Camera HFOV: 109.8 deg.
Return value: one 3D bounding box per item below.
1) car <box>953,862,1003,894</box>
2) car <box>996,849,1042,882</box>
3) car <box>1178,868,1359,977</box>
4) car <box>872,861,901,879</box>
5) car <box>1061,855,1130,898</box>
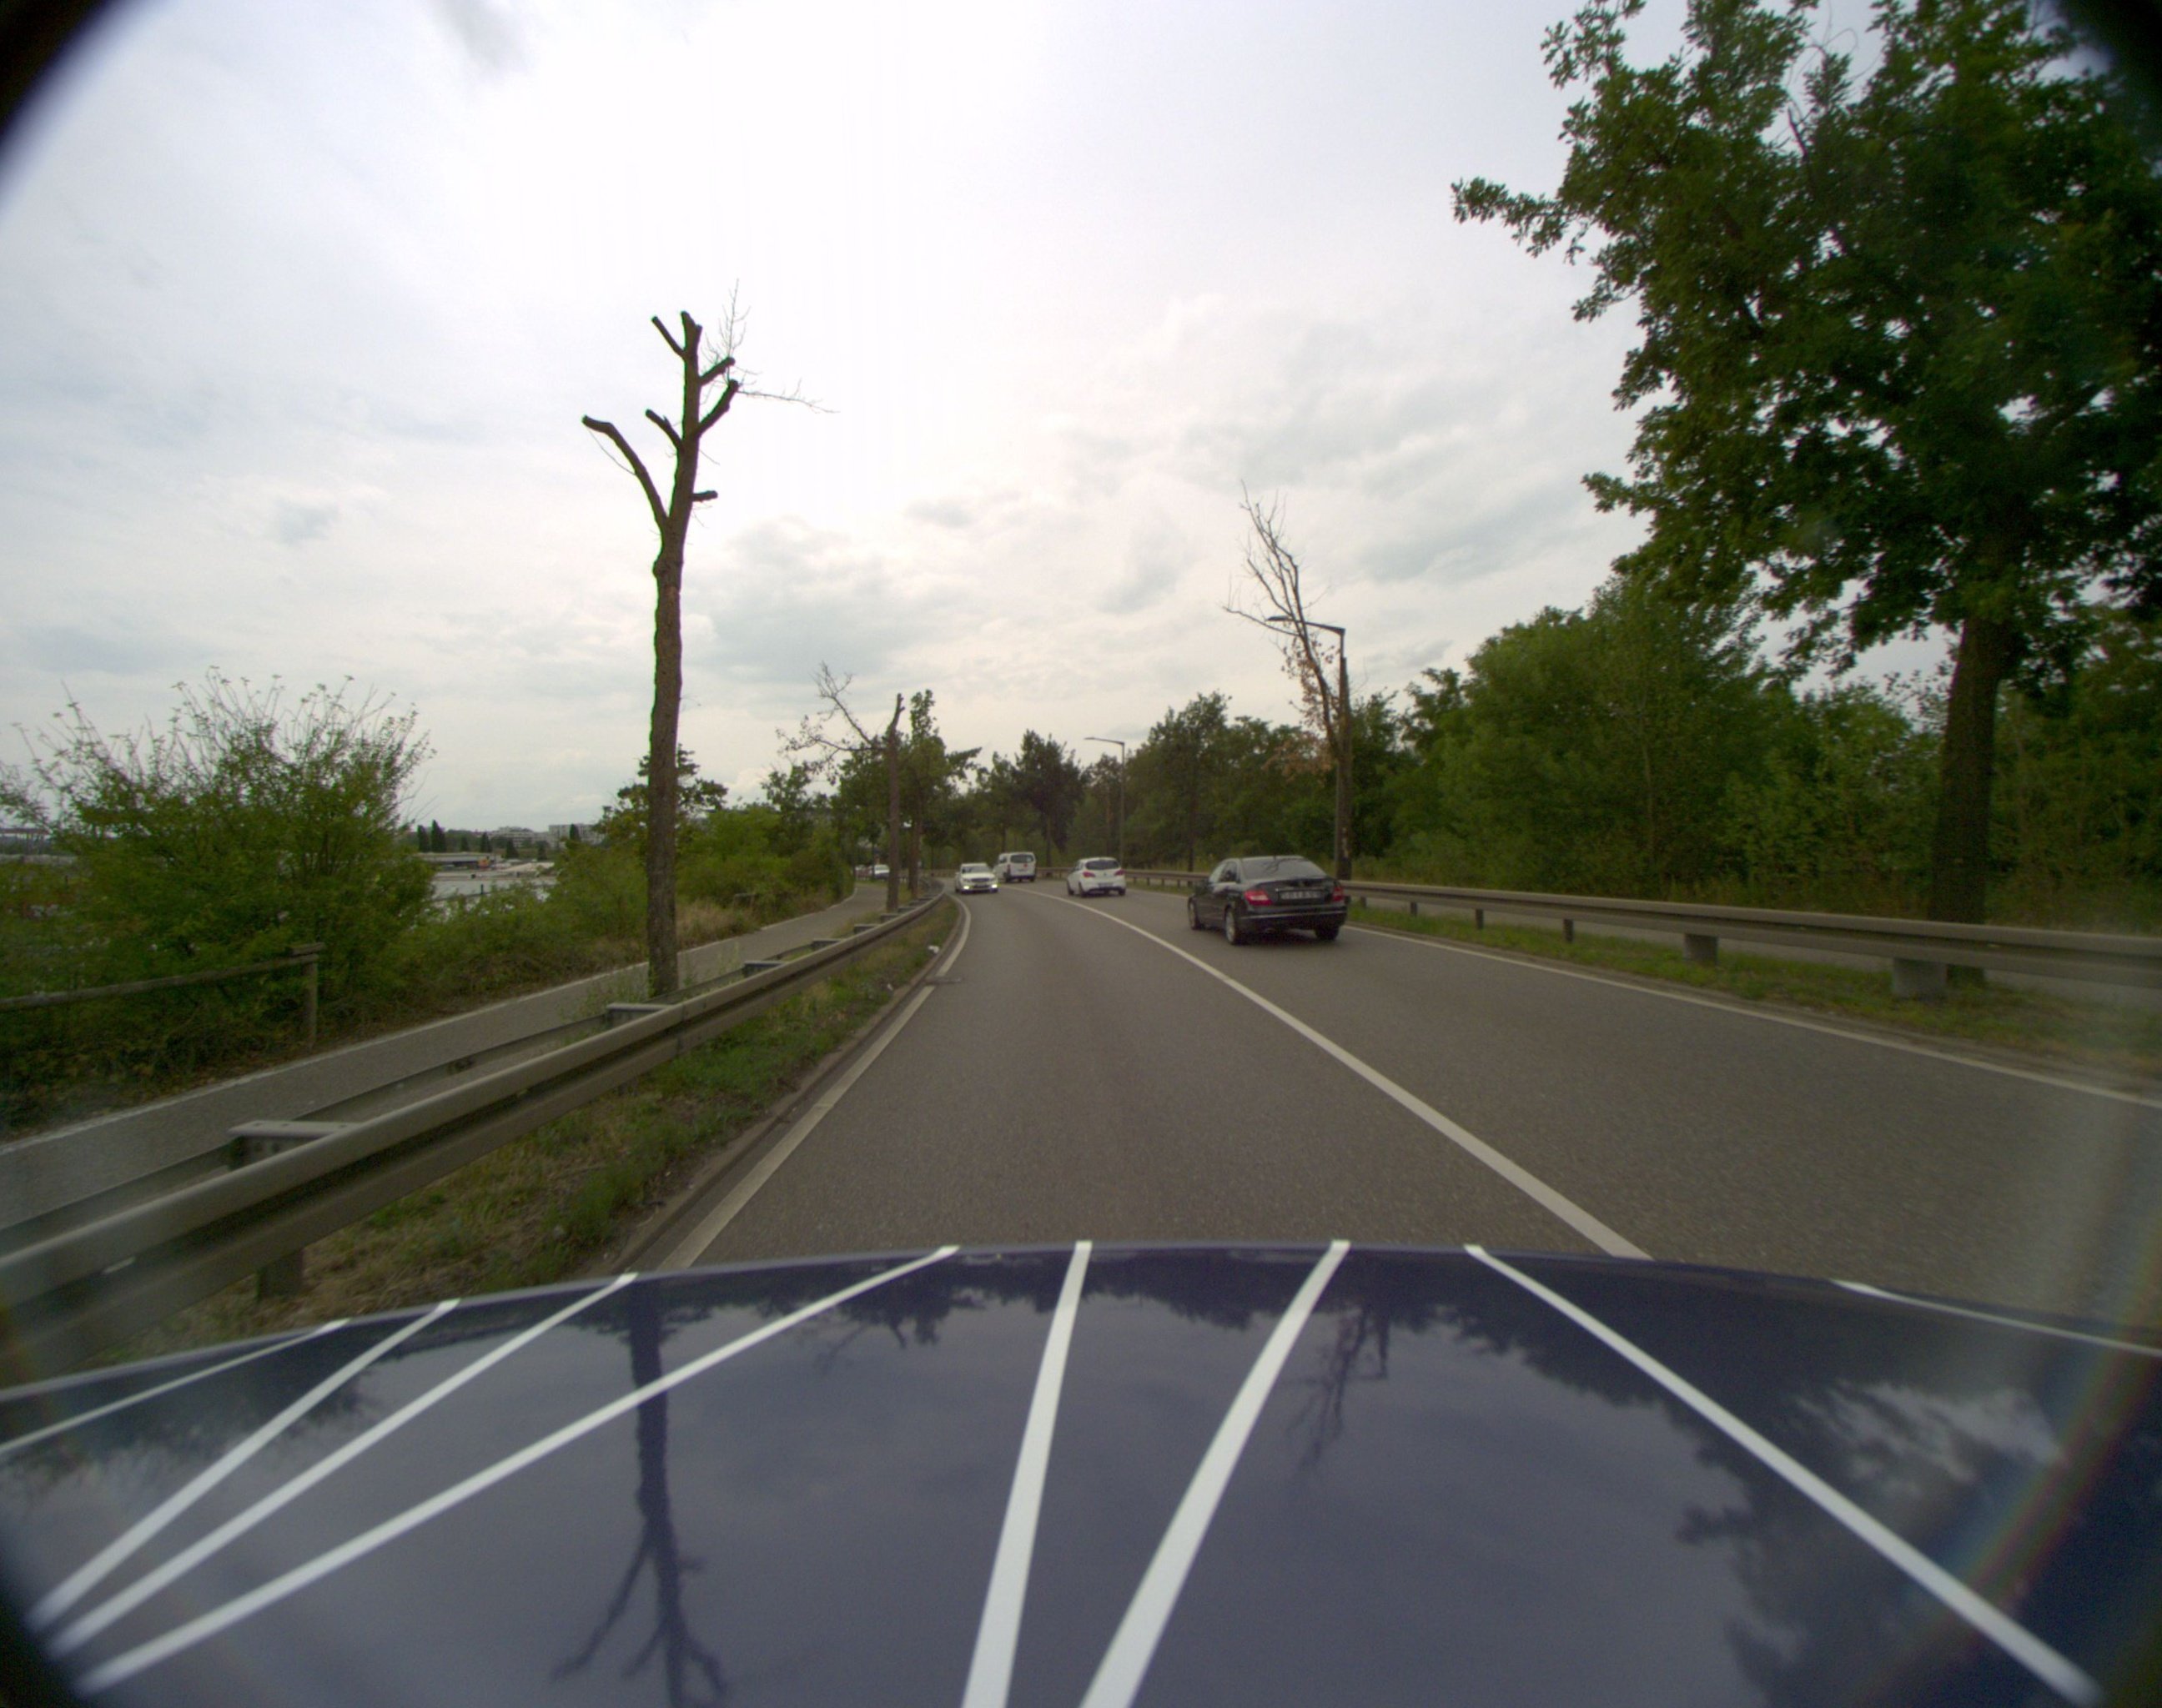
[{"bbox_3d":[-5.103,1.136,37.409,1.940,1.448,3.881,-1,0,-15],"label":"car"},{"bbox_3d":[-3.974,0.743,48.084,1.965,1.874,4.427,-2,-1,-17],"label":"car"},{"bbox_3d":[3.081,1.056,13.492,1.709,1.487,4.326,-3,0,-5],"label":"car"},{"bbox_3d":[-19.606,1.624,76.328,1.966,1.694,4.424,-2,-1,-25],"label":"car"},{"bbox_3d":[0.486,0.889,30.193,1.812,1.512,4.429,-2,-1,-11],"label":"car"}]
